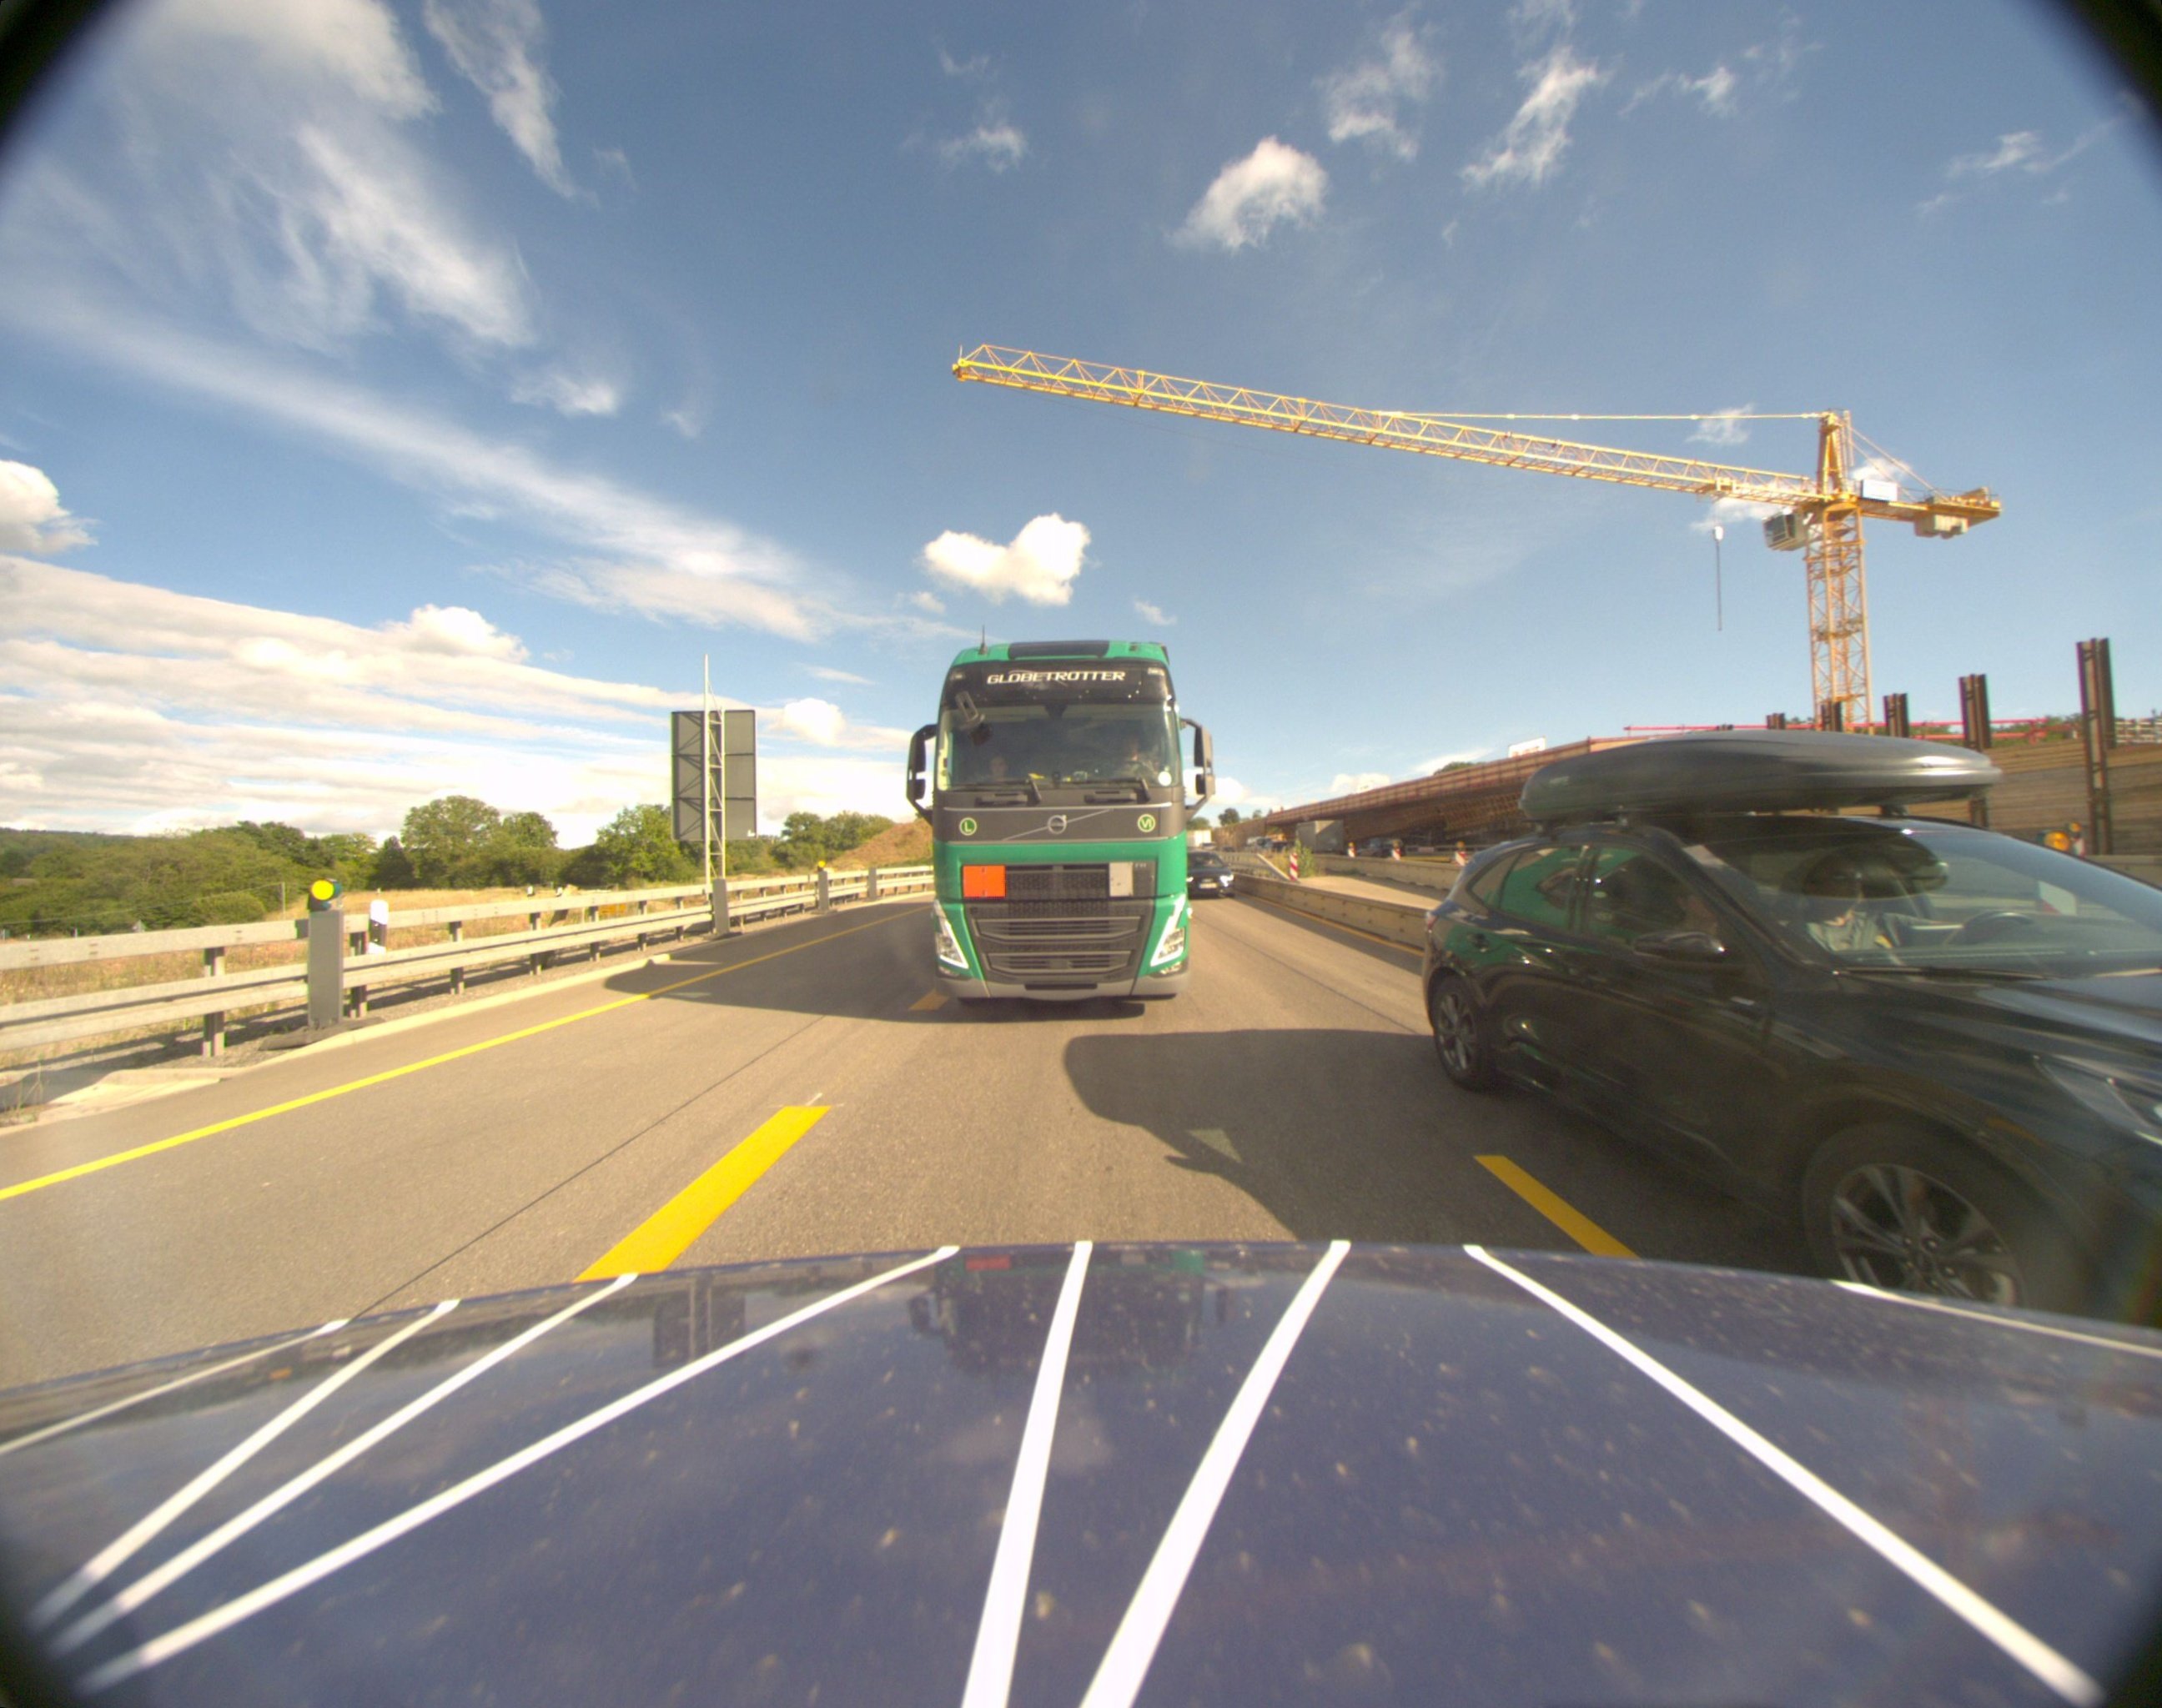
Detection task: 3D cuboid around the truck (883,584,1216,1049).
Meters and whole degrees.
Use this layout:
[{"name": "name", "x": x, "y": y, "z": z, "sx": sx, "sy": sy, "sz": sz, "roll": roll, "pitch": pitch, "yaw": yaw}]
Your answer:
[{"name": "truck", "x": -0.081, "y": -0.419, "z": 11.583, "sx": 2.663, "sy": 3.826, "sz": 10.316, "roll": -2, "pitch": 1, "yaw": 2}]

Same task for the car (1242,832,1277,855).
[{"name": "car", "x": 19.666, "y": -1.206, "z": 84.019, "sx": 2.264, "sy": 2.389, "sz": 5.865, "roll": -2, "pitch": 2, "yaw": -1}]

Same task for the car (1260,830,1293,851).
[{"name": "car", "x": 16.783, "y": -1.116, "z": 65.436, "sx": 1.857, "sy": 1.626, "sz": 4.749, "roll": -2, "pitch": 0, "yaw": 4}]

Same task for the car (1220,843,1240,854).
[{"name": "car", "x": 19.916, "y": -0.716, "z": 101.714, "sx": 1.925, "sy": 1.265, "sz": 3.999, "roll": -2, "pitch": 1, "yaw": 0}]

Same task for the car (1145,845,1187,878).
[{"name": "car", "x": 4.517, "y": 0.355, "z": 41.081, "sx": 1.806, "sy": 1.555, "sz": 4.561, "roll": -2, "pitch": 1, "yaw": 1}]

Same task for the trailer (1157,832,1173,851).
[{"name": "trailer", "x": 19.722, "y": -3.084, "z": 178.239, "sx": 2.694, "sy": 4.132, "sz": 13.811, "roll": -2, "pitch": 1, "yaw": 3}]

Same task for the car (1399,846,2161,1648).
[{"name": "car", "x": 3.078, "y": 0.770, "z": 3.110, "sx": 1.804, "sy": 1.533, "sz": 4.384, "roll": -2, "pitch": 0, "yaw": 2}]

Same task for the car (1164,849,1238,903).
[{"name": "car", "x": 3.819, "y": 0.642, "z": 24.931, "sx": 1.806, "sy": 1.448, "sz": 4.660, "roll": -2, "pitch": 1, "yaw": 2}]

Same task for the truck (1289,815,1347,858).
[{"name": "truck", "x": 20.165, "y": -1.510, "z": 65.090, "sx": 2.707, "sy": 3.293, "sz": 7.535, "roll": -2, "pitch": 2, "yaw": 2}]

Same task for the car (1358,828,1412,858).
[{"name": "car", "x": 19.829, "y": -0.745, "z": 49.715, "sx": 1.998, "sy": 1.794, "sz": 4.445, "roll": -2, "pitch": 2, "yaw": 4}]

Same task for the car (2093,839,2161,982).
[{"name": "car", "x": 11.651, "y": 0.562, "z": 6.286, "sx": 1.757, "sy": 1.431, "sz": 3.807, "roll": -2, "pitch": 0, "yaw": 8}]

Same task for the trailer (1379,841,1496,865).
[{"name": "trailer", "x": 19.475, "y": -0.130, "z": 42.373, "sx": 2.357, "sy": 0.934, "sz": 10.329, "roll": -2, "pitch": 1, "yaw": 4}]

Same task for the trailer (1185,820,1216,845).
[{"name": "trailer", "x": 19.647, "y": -3.485, "z": 125.803, "sx": 2.828, "sy": 3.820, "sz": 13.798, "roll": -2, "pitch": 1, "yaw": -1}]

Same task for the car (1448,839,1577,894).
[{"name": "car", "x": 12.968, "y": 0.329, "z": 23.188, "sx": 1.856, "sy": 1.431, "sz": 4.561, "roll": -2, "pitch": 0, "yaw": 8}]

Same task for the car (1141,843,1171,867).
[{"name": "car", "x": 5.449, "y": 0.019, "z": 55.665, "sx": 1.806, "sy": 1.555, "sz": 4.561, "roll": -2, "pitch": 1, "yaw": 1}]

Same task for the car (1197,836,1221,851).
[{"name": "car", "x": 16.593, "y": -1.349, "z": 98.572, "sx": 2.131, "sy": 1.755, "sz": 5.030, "roll": -2, "pitch": 0, "yaw": -1}]
